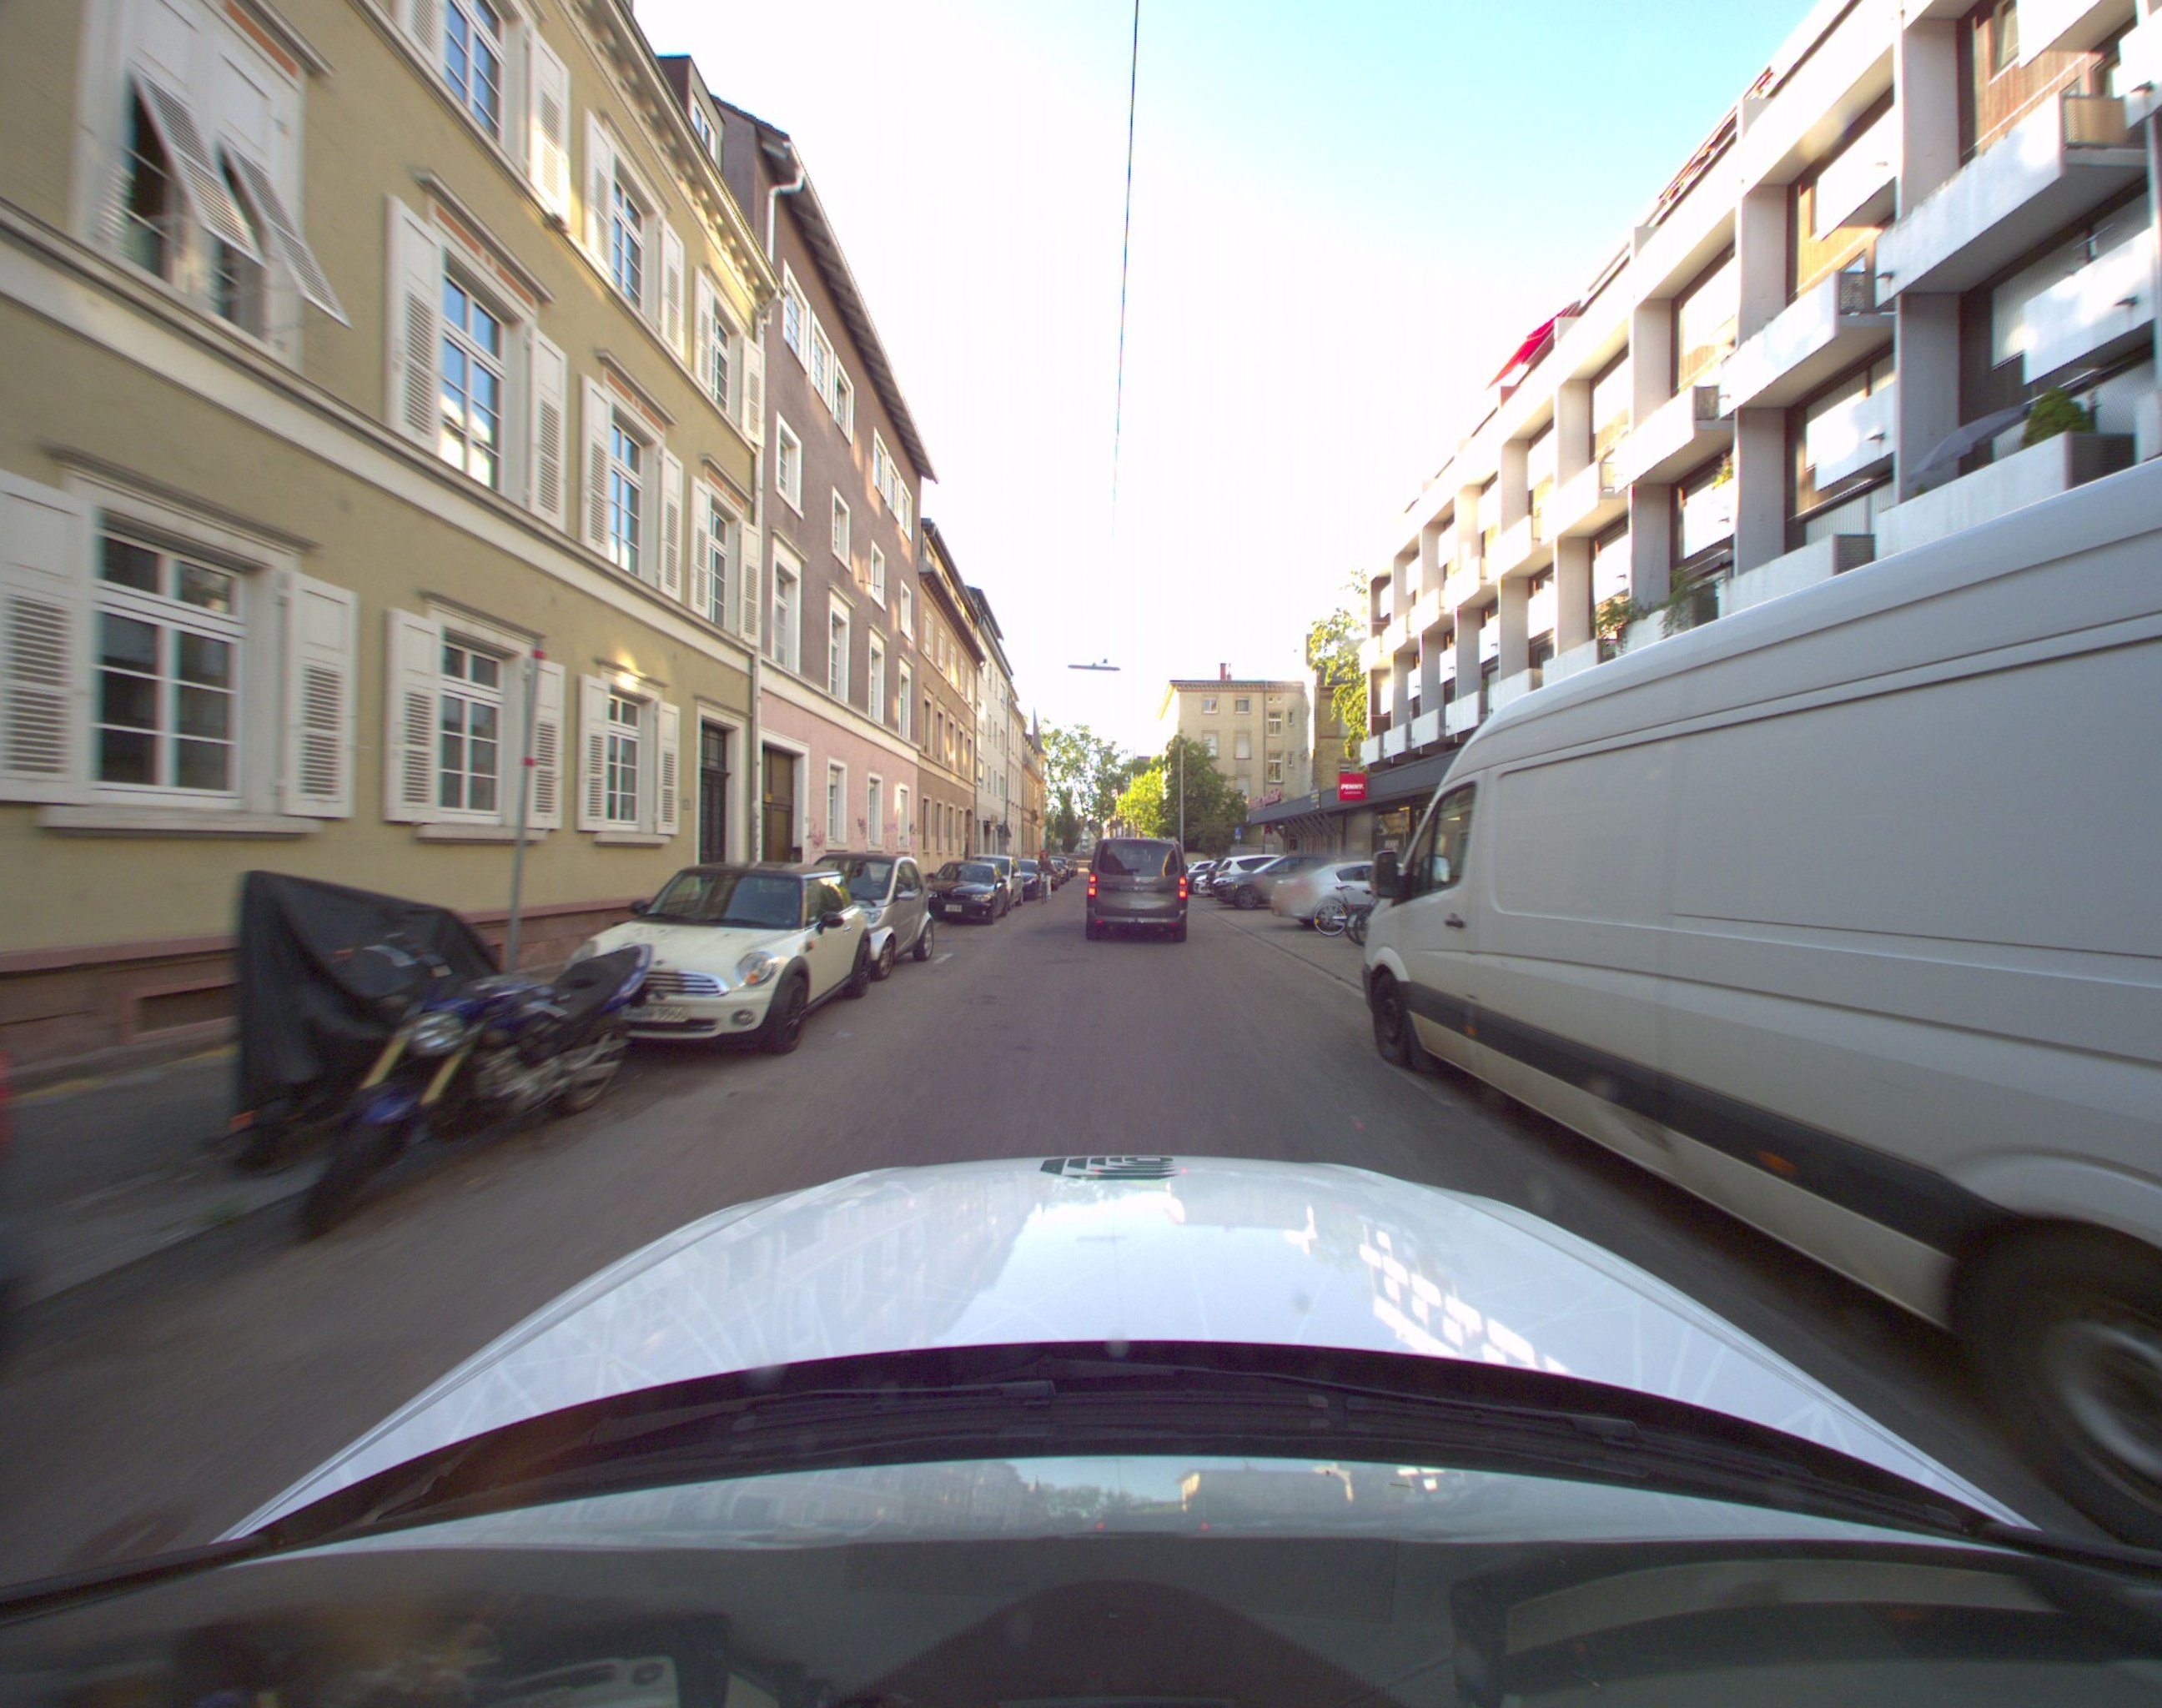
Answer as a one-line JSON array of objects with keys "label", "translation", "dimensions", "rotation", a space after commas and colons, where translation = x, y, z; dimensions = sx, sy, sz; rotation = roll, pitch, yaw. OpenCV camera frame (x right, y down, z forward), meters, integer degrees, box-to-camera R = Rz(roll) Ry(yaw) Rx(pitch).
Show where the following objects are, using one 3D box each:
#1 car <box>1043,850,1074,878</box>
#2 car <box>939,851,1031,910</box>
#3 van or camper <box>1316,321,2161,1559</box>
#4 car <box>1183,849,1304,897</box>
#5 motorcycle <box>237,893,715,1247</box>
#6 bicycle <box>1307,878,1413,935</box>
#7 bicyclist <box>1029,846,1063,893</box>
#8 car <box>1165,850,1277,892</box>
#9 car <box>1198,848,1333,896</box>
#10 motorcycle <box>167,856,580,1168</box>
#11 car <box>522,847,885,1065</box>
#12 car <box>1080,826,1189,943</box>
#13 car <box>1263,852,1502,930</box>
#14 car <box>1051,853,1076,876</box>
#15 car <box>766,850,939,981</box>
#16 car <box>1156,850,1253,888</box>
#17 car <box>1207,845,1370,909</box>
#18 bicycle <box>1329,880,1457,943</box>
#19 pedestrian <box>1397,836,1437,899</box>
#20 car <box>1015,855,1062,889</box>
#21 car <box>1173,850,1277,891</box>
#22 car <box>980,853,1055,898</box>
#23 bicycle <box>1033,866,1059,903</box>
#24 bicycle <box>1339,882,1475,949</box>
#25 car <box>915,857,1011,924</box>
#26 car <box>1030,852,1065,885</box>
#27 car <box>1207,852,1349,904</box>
[{"label": "car", "translation": [-1.557, 0.674, 56.202], "dimensions": [1.988, 1.858, 4.582], "rotation": [1, 0, -2]}, {"label": "car", "translation": [-2.821, 0.736, 24.929], "dimensions": [1.985, 1.605, 4.589], "rotation": [1, 0, 3]}, {"label": "van or camper", "translation": [3.315, 0.179, 4.066], "dimensions": [2.093, 2.602, 7.511], "rotation": [-1, 0, 0]}, {"label": "car", "translation": [6.552, 0.757, 33.137], "dimensions": [4.467, 1.858, 1.881], "rotation": [1, 0, -6]}, {"label": "motorcycle", "translation": [-2.873, 0.885, 4.359], "dimensions": [0.708, 1.234, 2.474], "rotation": [0, 0, 0]}, {"label": "bicycle", "translation": [5.515, 1.036, 16.186], "dimensions": [1.890, 1.067, 0.679], "rotation": [-1, 0, 4]}, {"label": "bicyclist", "translation": [-1.179, 0.515, 27.509], "dimensions": [1.029, 1.577, 0.834], "rotation": [-1, 0, 5]}, {"label": "car", "translation": [6.188, 0.741, 36.221], "dimensions": [4.563, 1.792, 1.996], "rotation": [1, 0, -6]}, {"label": "car", "translation": [6.887, 0.669, 30.690], "dimensions": [4.563, 1.705, 1.996], "rotation": [1, 0, -6]}, {"label": "motorcycle", "translation": [-3.750, 0.714, 4.590], "dimensions": [0.703, 1.390, 1.849], "rotation": [0, 0, 0]}, {"label": "car", "translation": [-3.071, 0.707, 7.580], "dimensions": [1.707, 1.497, 3.851], "rotation": [1, 0, -3]}, {"label": "car", "translation": [1.041, 0.527, 16.276], "dimensions": [1.850, 2.013, 4.003], "rotation": [-2, 0, 3]}, {"label": "car", "translation": [6.546, 0.775, 18.072], "dimensions": [4.609, 1.466, 1.841], "rotation": [-2, 0, 1]}, {"label": "car", "translation": [-1.494, 0.876, 68.983], "dimensions": [1.988, 1.858, 4.582], "rotation": [1, 0, -2]}, {"label": "car", "translation": [-2.955, 0.722, 11.039], "dimensions": [1.379, 1.532, 2.752], "rotation": [1, 0, 4]}, {"label": "car", "translation": [6.285, 0.761, 41.627], "dimensions": [4.563, 1.858, 1.996], "rotation": [1, 0, -6]}, {"label": "car", "translation": [6.320, 0.680, 25.211], "dimensions": [4.555, 1.858, 2.000], "rotation": [1, 0, 0]}, {"label": "bicycle", "translation": [5.571, 1.018, 14.592], "dimensions": [2.037, 1.048, 0.723], "rotation": [-1, 0, -5]}, {"label": "pedestrian", "translation": [10.491, 0.413, 25.472], "dimensions": [1.077, 1.945, 0.875], "rotation": [0, 0, 19]}, {"label": "car", "translation": [-2.049, 0.839, 40.433], "dimensions": [2.138, 1.560, 4.582], "rotation": [1, 0, -2]}, {"label": "car", "translation": [6.895, 0.770, 39.191], "dimensions": [4.563, 1.858, 1.996], "rotation": [1, 0, -6]}, {"label": "car", "translation": [-2.314, 0.756, 30.825], "dimensions": [1.983, 1.560, 4.593], "rotation": [1, 0, 6]}, {"label": "bicycle", "translation": [-1.164, 1.010, 27.577], "dimensions": [0.618, 1.138, 2.260], "rotation": [-1, 0, 5]}, {"label": "bicycle", "translation": [5.505, 1.026, 13.803], "dimensions": [2.038, 1.048, 0.723], "rotation": [-1, 0, -6]}, {"label": "car", "translation": [-2.766, 0.810, 20.014], "dimensions": [1.783, 1.397, 4.464], "rotation": [1, 0, -2]}, {"label": "car", "translation": [-1.972, 0.831, 49.026], "dimensions": [1.988, 1.858, 4.582], "rotation": [1, 0, -2]}, {"label": "car", "translation": [6.704, 0.810, 27.994], "dimensions": [4.446, 1.676, 1.795], "rotation": [1, 0, -4]}]
